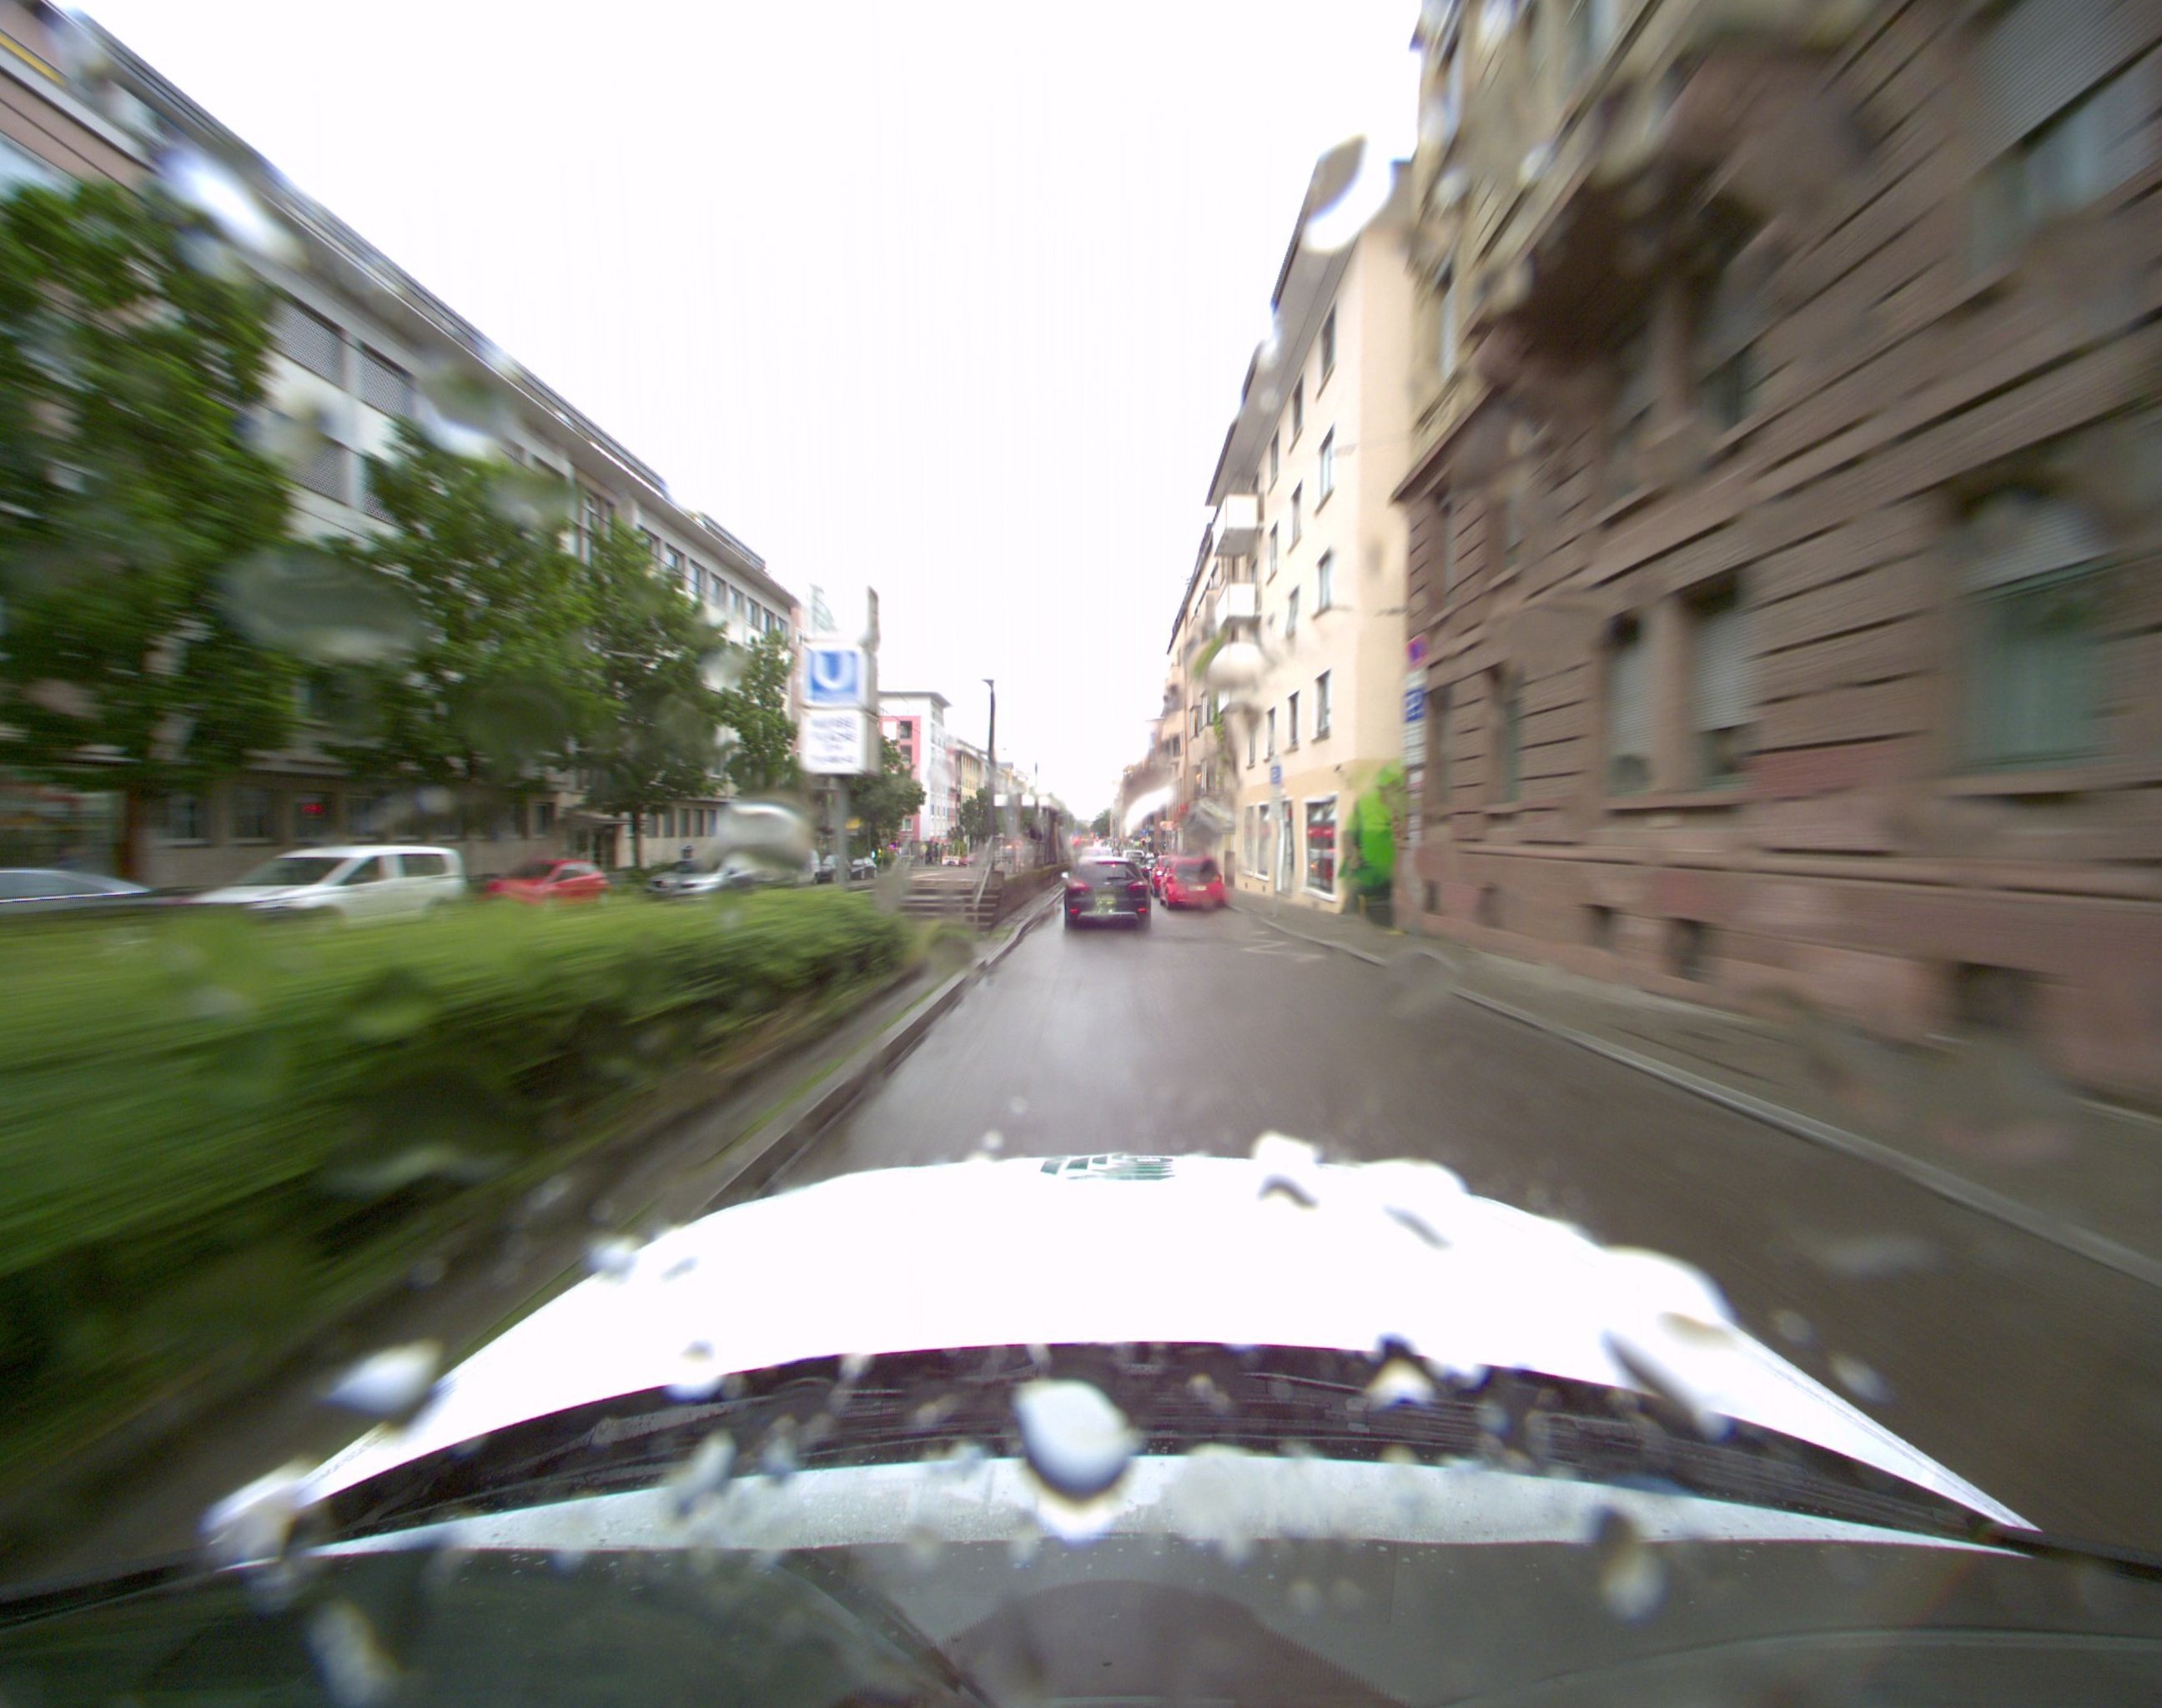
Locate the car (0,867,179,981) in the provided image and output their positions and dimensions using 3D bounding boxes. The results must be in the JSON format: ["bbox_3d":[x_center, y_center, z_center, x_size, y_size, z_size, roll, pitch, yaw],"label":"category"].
[{"bbox_3d":[-14.311,0.887,9.818,1.848,1.418,4.432,-2,-1,1],"label":"car"}]

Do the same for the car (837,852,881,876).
[{"bbox_3d":[-13.811,0.665,50.881,1.545,1.395,4.047,1,-1,1],"label":"car"}]

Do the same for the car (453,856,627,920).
[{"bbox_3d":[-14.391,0.877,21.995,1.848,1.527,4.047,1,-1,1],"label":"car"}]

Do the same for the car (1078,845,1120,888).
[{"bbox_3d":[0.873,0.599,41.840,1.982,2.060,4.644,0,0,0],"label":"car"}]

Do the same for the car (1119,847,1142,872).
[{"bbox_3d":[3.752,0.442,62.200,1.585,1.781,3.780,3,-2,2],"label":"car"}]

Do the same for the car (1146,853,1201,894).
[{"bbox_3d":[3.331,0.692,29.874,1.664,1.421,3.476,0,0,1],"label":"car"}]

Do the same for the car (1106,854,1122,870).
[{"bbox_3d":[4.531,1.163,111.618,1.986,2.014,4.001,3,-2,2],"label":"car"}]

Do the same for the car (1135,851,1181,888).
[{"bbox_3d":[3.584,0.749,38.442,1.851,1.585,3.780,3,-2,2],"label":"car"}]

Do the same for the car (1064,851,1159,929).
[{"bbox_3d":[0.562,0.716,17.821,1.837,1.507,3.998,0,-1,-1],"label":"car"}]

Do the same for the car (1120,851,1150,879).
[{"bbox_3d":[3.700,0.812,56.349,1.832,1.781,3.780,3,-2,2],"label":"car"}]

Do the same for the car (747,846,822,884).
[{"bbox_3d":[-14.011,0.542,38.808,1.851,1.637,4.930,1,-1,-2],"label":"car"}]

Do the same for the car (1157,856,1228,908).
[{"bbox_3d":[3.173,0.762,23.779,1.664,1.421,3.476,0,0,1],"label":"car"}]

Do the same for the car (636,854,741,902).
[{"bbox_3d":[-13.920,0.857,29.135,1.662,1.558,4.047,1,-1,1],"label":"car"}]

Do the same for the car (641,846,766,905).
[{"bbox_3d":[-11.547,0.664,25.247,1.848,1.637,4.047,1,-1,1],"label":"car"}]

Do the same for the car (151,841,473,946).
[{"bbox_3d":[-14.369,0.699,15.686,1.848,1.701,4.432,1,-1,1],"label":"car"}]

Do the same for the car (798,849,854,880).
[{"bbox_3d":[-13.952,0.598,44.753,1.689,1.574,4.047,1,-1,1],"label":"car"}]
